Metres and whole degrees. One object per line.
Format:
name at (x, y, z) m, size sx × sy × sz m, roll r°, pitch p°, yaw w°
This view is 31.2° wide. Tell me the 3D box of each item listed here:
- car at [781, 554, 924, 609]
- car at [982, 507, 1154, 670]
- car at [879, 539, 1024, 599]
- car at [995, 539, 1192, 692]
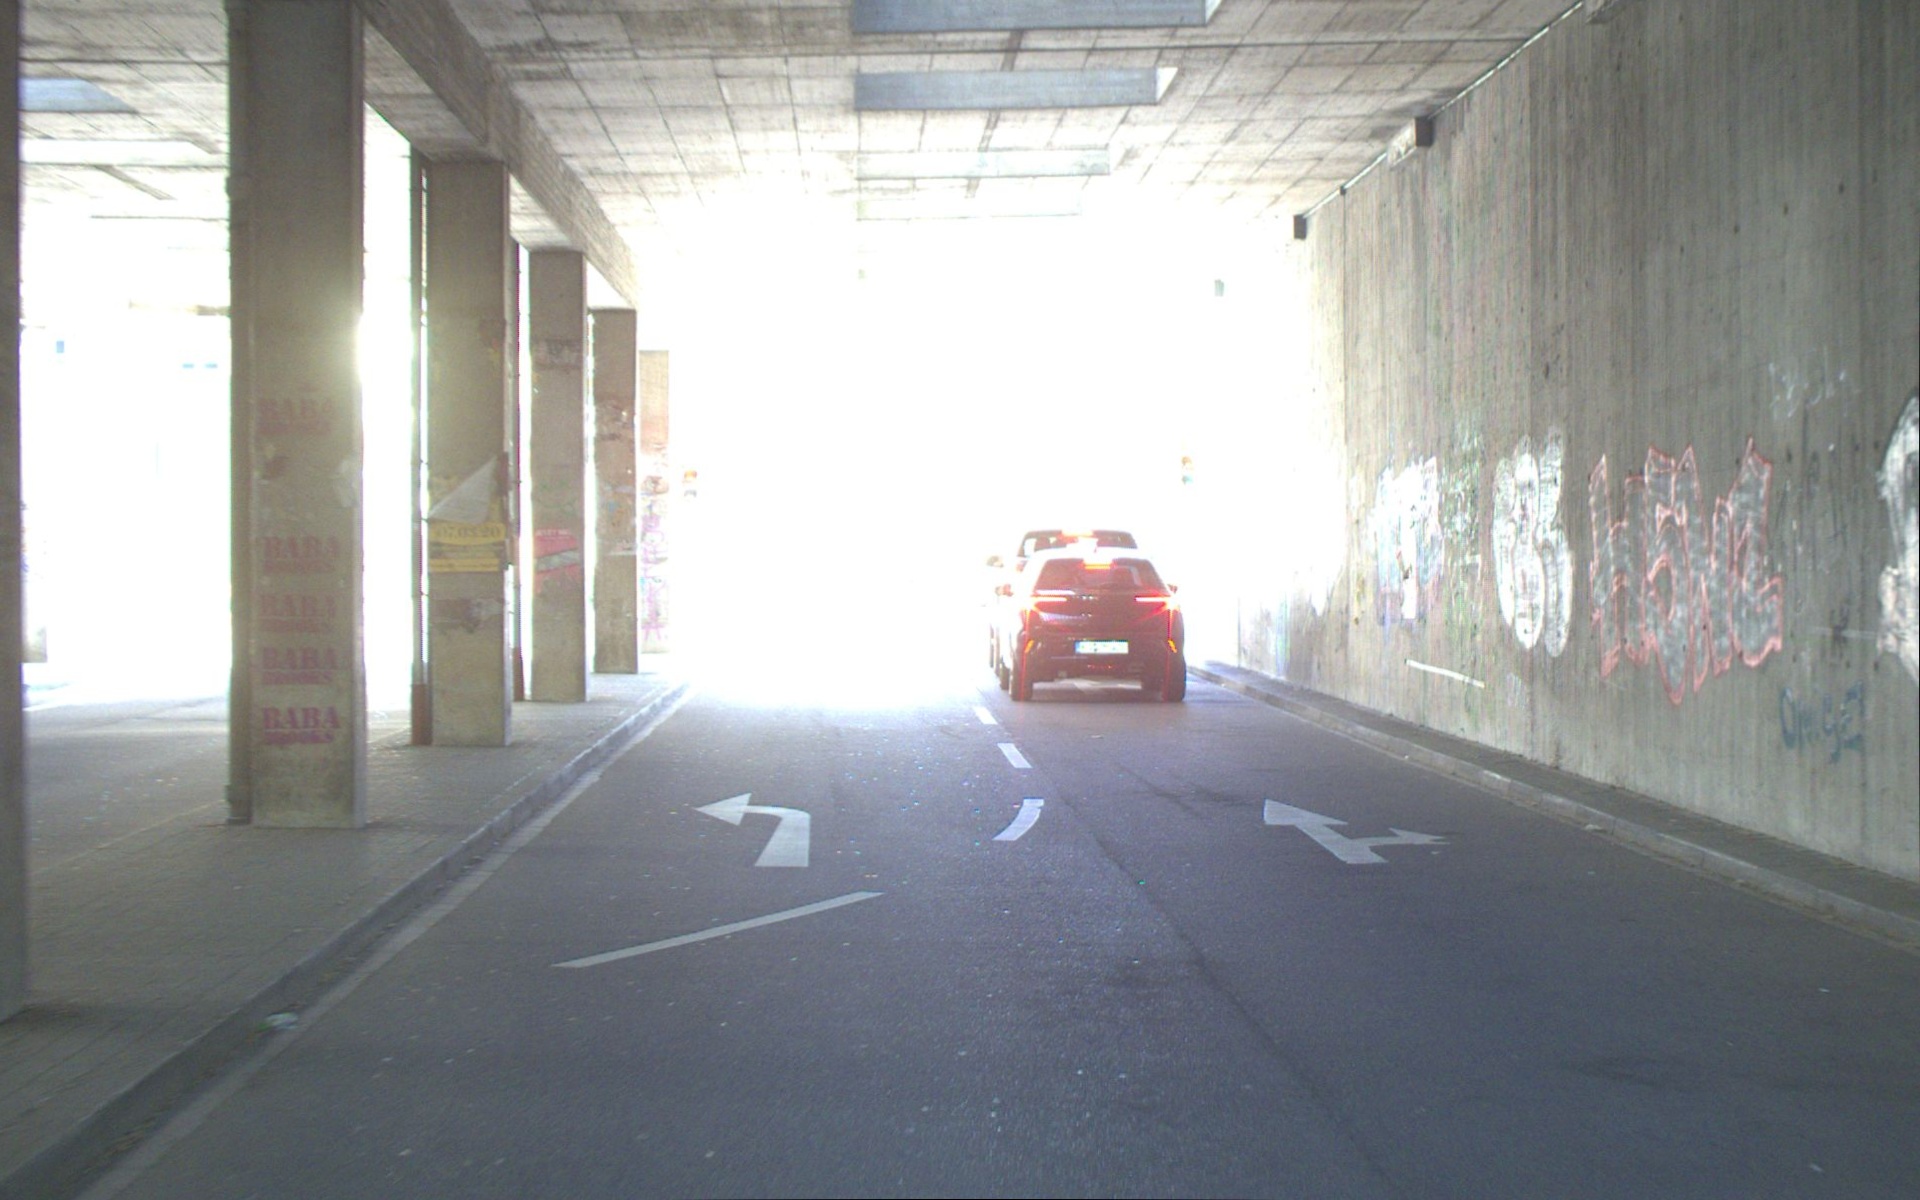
car at (-3.078, -0.529, 98.906) m, size 3.987 × 1.568 × 1.640 m, roll 0°, pitch 0°, yaw 3°
car at (1.271, -0.177, 42.222) m, size 1.815 × 1.876 × 4.586 m, roll -1°, pitch 1°, yaw -2°
car at (-0.239, -0.939, 102.840) m, size 4.151 × 1.733 × 2.000 m, roll -1°, pitch 1°, yaw 6°
car at (1.341, 0.116, 36.036) m, size 1.826 × 1.496 × 4.211 m, roll 0°, pitch 1°, yaw -1°
